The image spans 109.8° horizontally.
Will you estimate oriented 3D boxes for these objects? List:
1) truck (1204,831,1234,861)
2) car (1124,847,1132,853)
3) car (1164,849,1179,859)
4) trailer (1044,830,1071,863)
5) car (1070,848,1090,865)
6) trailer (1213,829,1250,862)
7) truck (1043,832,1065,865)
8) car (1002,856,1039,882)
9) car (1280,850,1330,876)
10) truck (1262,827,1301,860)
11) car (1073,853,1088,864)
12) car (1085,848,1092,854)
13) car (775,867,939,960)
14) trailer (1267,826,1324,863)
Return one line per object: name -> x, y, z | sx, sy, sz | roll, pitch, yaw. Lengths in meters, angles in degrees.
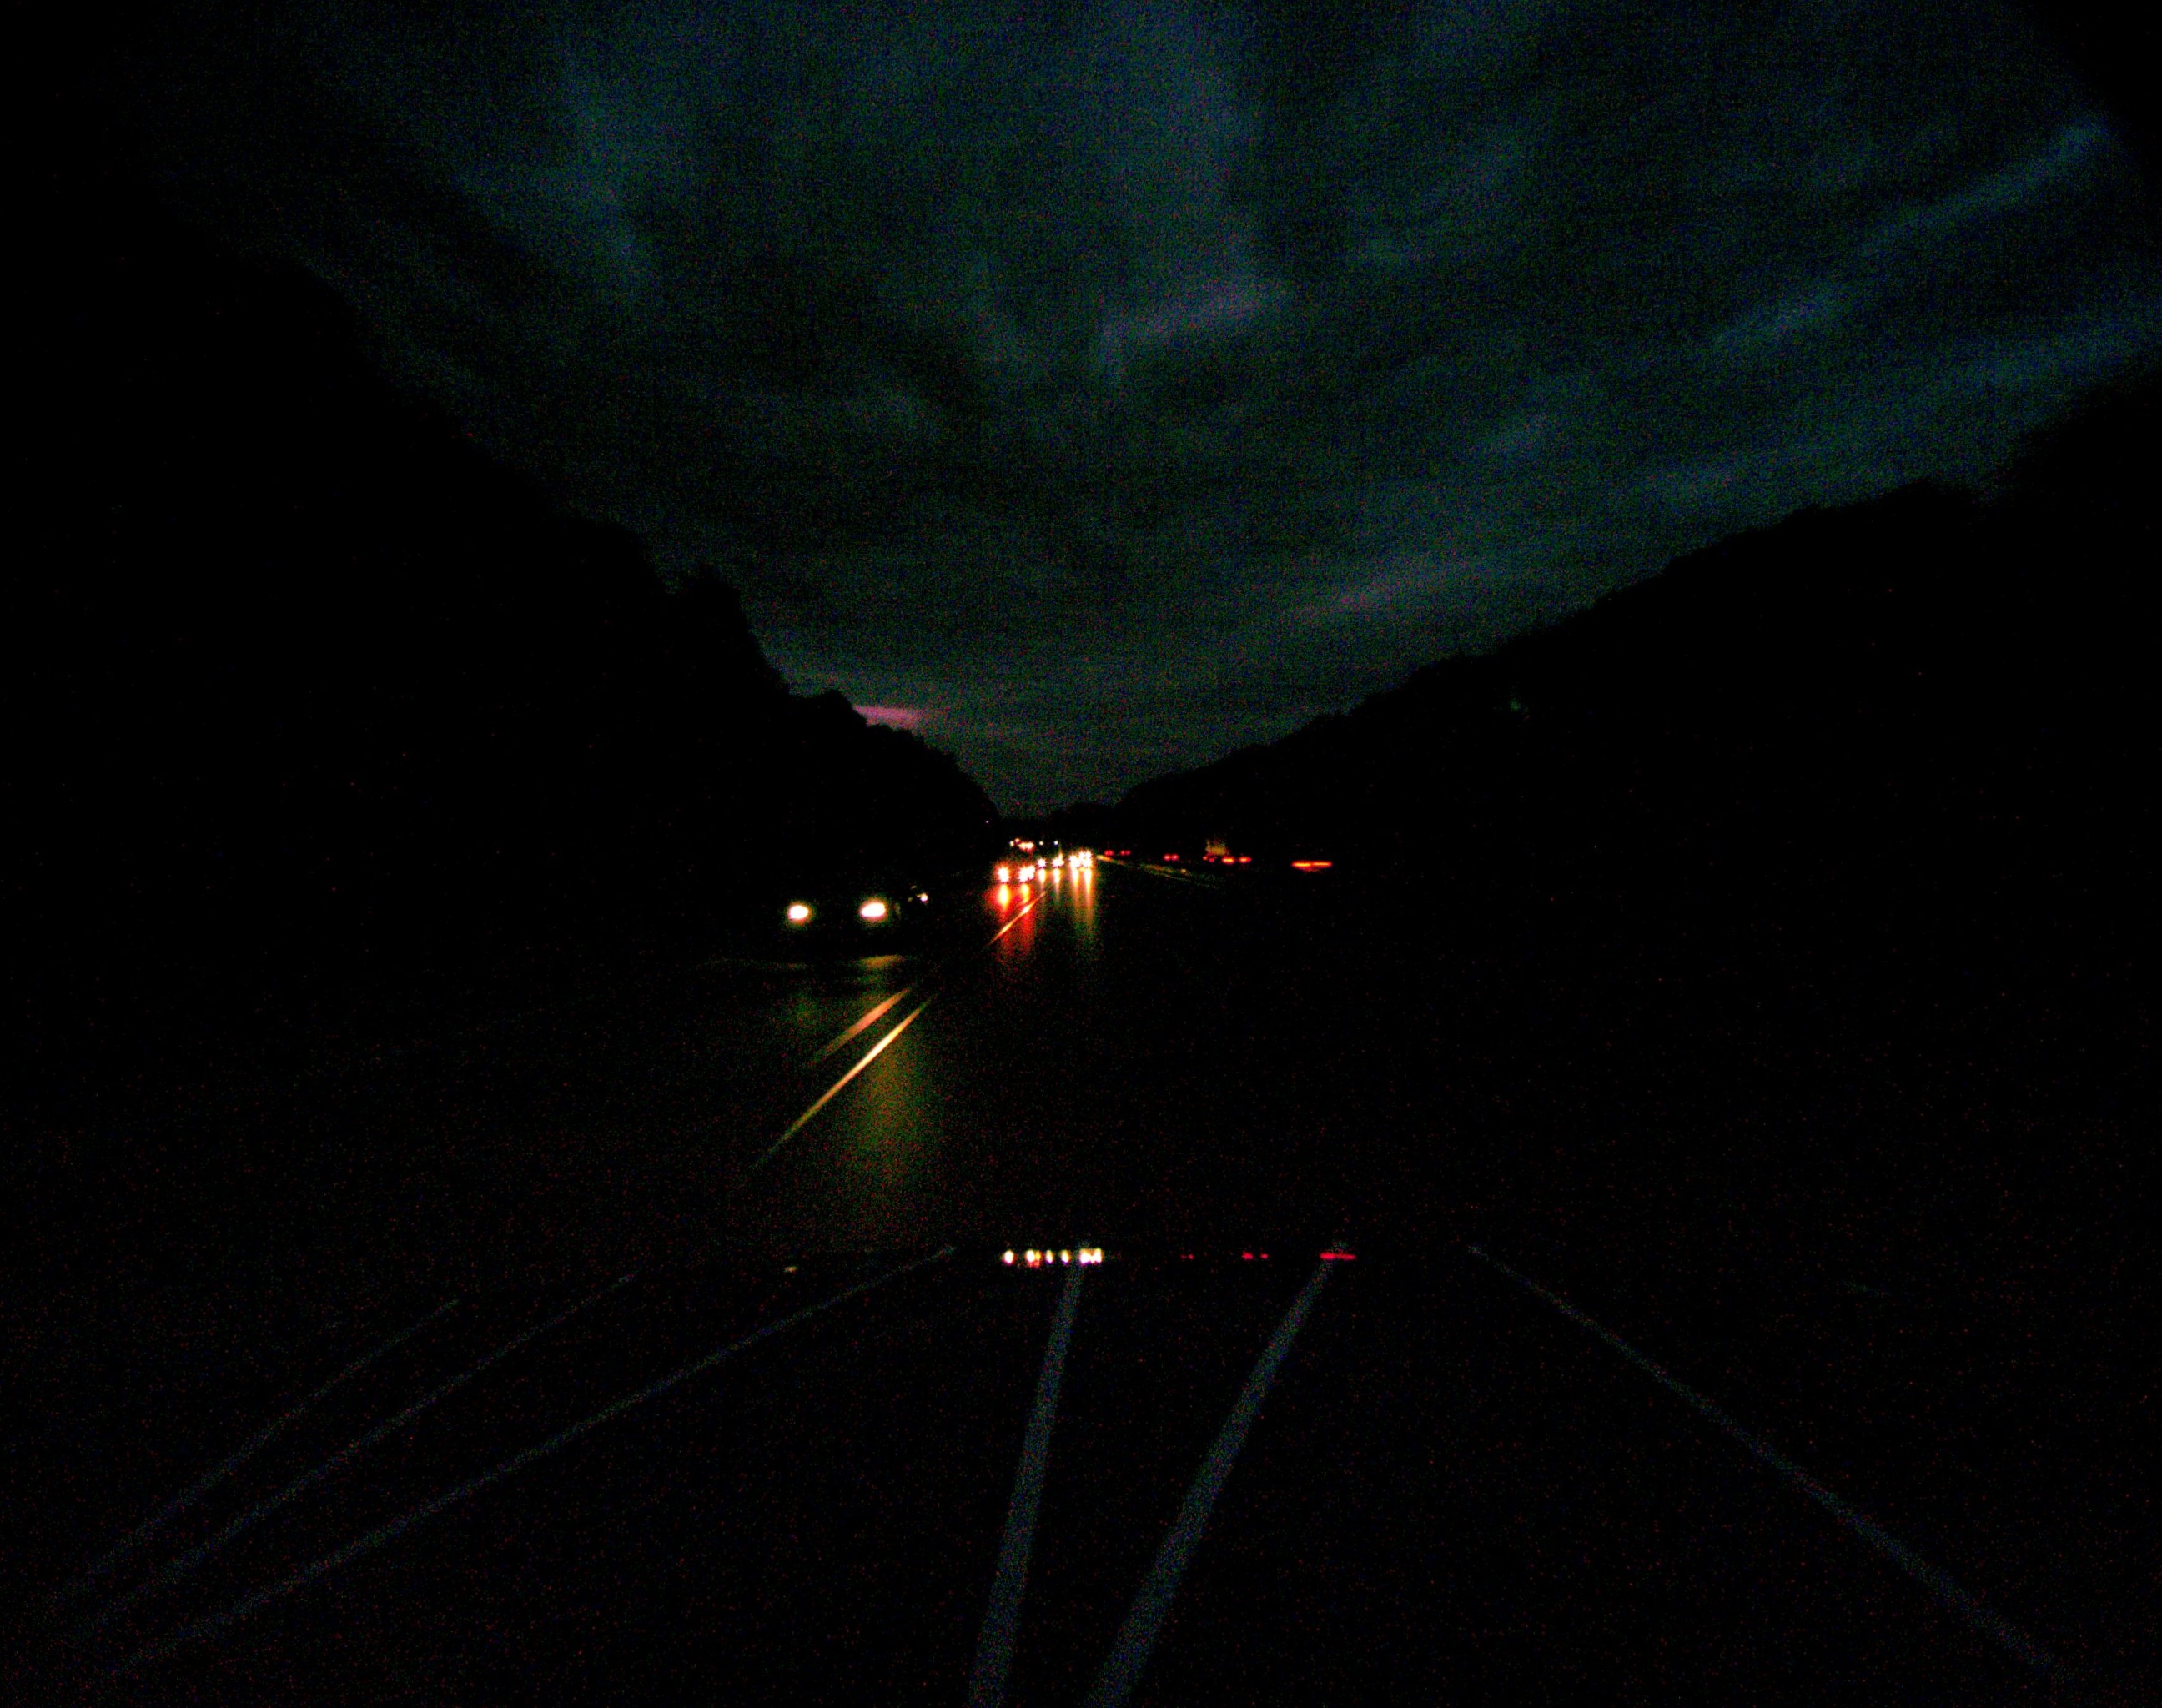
truck -> 18.759, -1.083, 103.758 | 2.653, 3.949, 7.121 | -1, 1, 0
car -> 12.827, -1.010, 207.181 | 1.690, 1.506, 4.414 | -1, 1, 0
car -> 14.614, -0.020, 122.725 | 1.915, 1.443, 5.354 | -1, 1, 1
trailer -> -3.127, -1.186, 105.756 | 2.488, 4.050, 13.502 | -2, 2, 3
car -> -0.075, 0.266, 88.666 | 1.869, 1.701, 4.584 | -2, 1, 4
trailer -> 18.718, -1.043, 95.140 | 2.653, 3.908, 10.184 | -1, 1, 1
truck -> -3.452, -0.775, 98.649 | 2.498, 3.946, 5.588 | -2, 2, 1
car -> -3.745, 0.895, 47.891 | 1.695, 1.481, 4.949 | -3, 0, 2
car -> 14.607, 0.539, 49.769 | 1.885, 1.565, 4.654 | -1, 0, 0
truck -> 26.163, -1.441, 99.563 | 3.199, 4.081, 7.688 | -2, 1, 1
car -> -0.137, 0.810, 134.202 | 1.924, 1.706, 4.938 | -3, 2, -7
car -> 1.874, -0.830, 194.109 | 1.695, 1.481, 4.948 | -1, 1, 1
car -> -4.221, 1.043, 15.147 | 1.870, 1.427, 4.583 | -3, 0, 0
trailer -> 26.059, -1.226, 93.221 | 3.199, 4.081, 14.181 | -2, 1, 1
